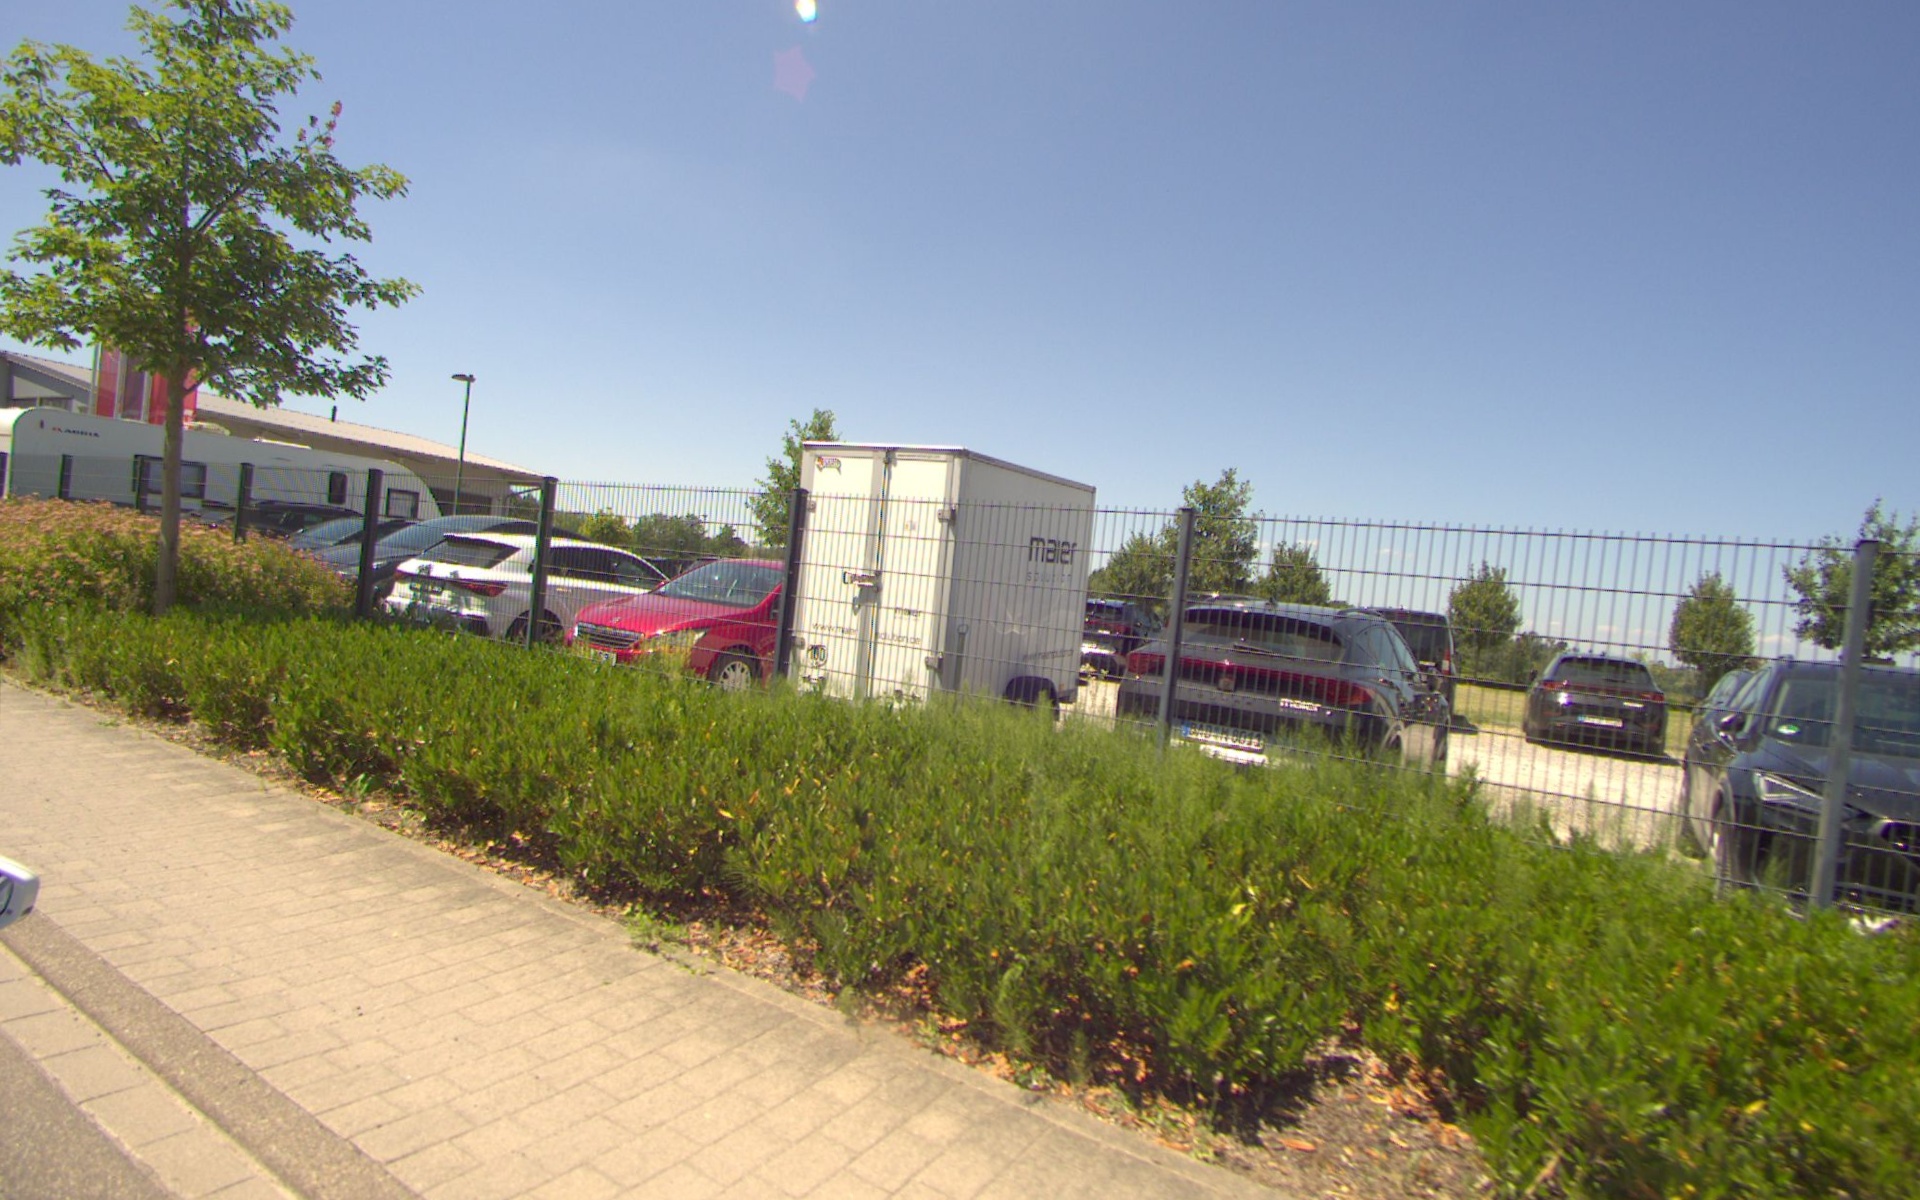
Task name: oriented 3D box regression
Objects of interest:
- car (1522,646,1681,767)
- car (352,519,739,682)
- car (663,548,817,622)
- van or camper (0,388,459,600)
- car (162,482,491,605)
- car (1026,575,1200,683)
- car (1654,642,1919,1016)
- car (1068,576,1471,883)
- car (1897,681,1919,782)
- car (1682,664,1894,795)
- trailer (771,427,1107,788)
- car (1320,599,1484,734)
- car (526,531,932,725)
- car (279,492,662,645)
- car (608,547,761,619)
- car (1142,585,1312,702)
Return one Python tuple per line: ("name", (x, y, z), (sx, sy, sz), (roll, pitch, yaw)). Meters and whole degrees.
("car", (9.768, 1.529, 15.475), (1.695, 1.405, 4.044), (7, 1, 31))
("car", (-4.589, 0.030, 11.722), (1.775, 1.459, 3.844), (6, 1, 28))
("car", (-5.648, -0.341, 26.278), (1.650, 1.562, 3.824), (7, 1, 31))
("van or camper", (-12.913, -1.619, 17.816), (2.592, 2.617, 6.764), (7, 0, 31))
("car", (-10.155, -0.841, 16.458), (1.778, 1.556, 4.139), (7, 1, 31))
("car", (3.167, 0.609, 20.119), (1.886, 1.786, 4.044), (7, 1, 31))
("car", (5.320, 1.122, 5.846), (1.714, 1.510, 4.044), (7, 1, 31))
("car", (2.603, 0.792, 7.678), (1.886, 1.523, 4.044), (7, 1, 31))
("car", (14.460, 1.986, 13.557), (1.747, 1.467, 4.044), (7, 1, 31))
("car", (11.829, 1.755, 14.647), (1.695, 1.405, 3.909), (7, 1, 31))
("trailer", (-0.030, 0.054, 8.392), (1.395, 2.435, 2.825), (7, 2, 28))
("car", (7.605, 1.087, 17.089), (1.886, 1.823, 4.044), (7, 1, 31))
("car", (-2.148, 0.268, 10.368), (1.776, 1.495, 3.892), (7, 2, 31))
("car", (-6.314, -0.315, 13.494), (1.778, 1.641, 4.254), (7, 1, 31))
("car", (-7.482, -0.428, 27.679), (1.721, 1.596, 3.824), (7, 1, 31))
("car", (5.143, 0.823, 18.996), (1.886, 1.786, 4.044), (7, 1, 31))
